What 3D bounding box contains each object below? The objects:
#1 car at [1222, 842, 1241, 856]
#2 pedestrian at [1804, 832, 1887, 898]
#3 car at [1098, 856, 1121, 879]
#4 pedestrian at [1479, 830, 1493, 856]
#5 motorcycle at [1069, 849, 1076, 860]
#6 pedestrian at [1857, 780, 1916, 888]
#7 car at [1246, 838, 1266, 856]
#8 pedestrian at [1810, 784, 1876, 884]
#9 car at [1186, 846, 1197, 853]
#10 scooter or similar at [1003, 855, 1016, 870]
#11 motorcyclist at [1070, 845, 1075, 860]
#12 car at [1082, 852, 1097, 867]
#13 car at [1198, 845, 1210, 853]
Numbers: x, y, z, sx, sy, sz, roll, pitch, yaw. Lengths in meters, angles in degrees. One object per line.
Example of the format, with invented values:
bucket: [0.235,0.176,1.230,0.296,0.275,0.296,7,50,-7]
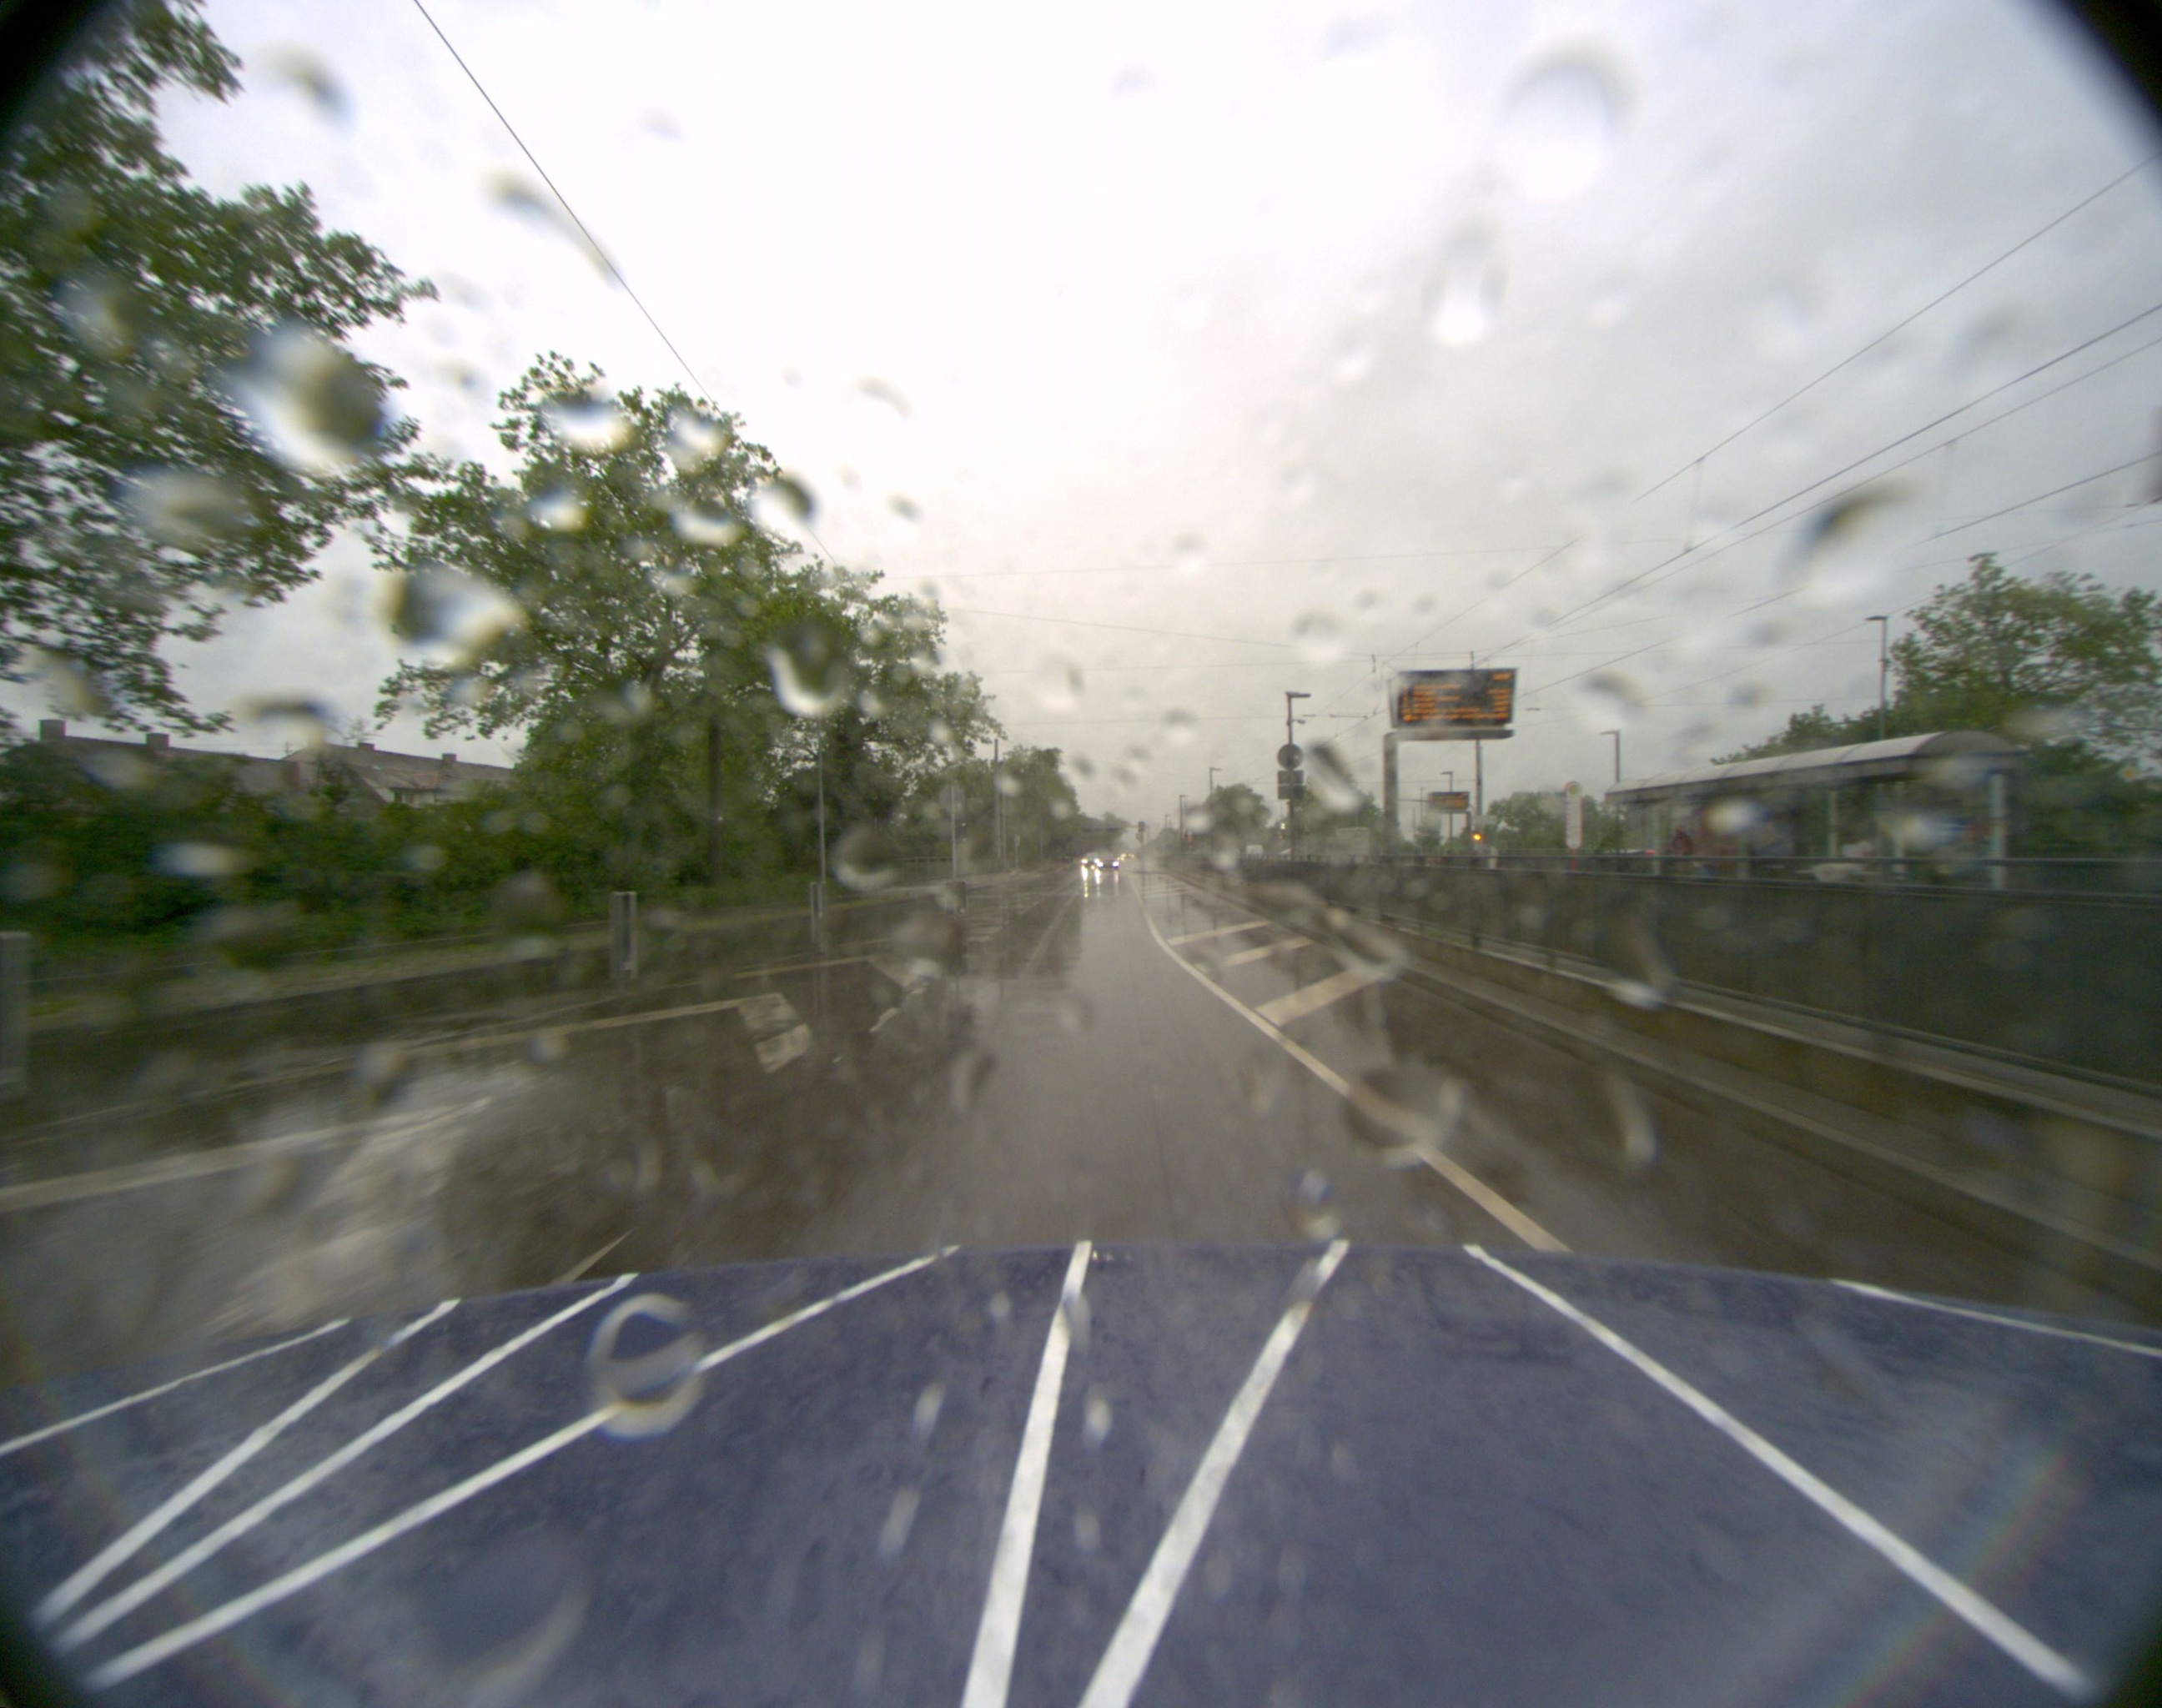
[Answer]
car: [23.146,-0.767,117.007,1.998,2.002,4.754,-2,0,3]
pedestrian: [15.915,0.230,15.846,0.833,1.309,0.858,-2,1,3]
car: [2.723,1.211,71.113,1.998,2.002,4.001,-1,0,4]
pedestrian: [32.093,-0.886,60.250,0.700,2.002,0.697,-1,1,4]
motorcycle: [-1.307,0.006,119.624,0.845,1.710,2.586,-2,1,3]
pedestrian: [30.931,-0.760,29.206,1.169,4.006,1.522,-1,2,31]
car: [27.487,-1.076,119.682,2.124,2.697,5.739,-2,0,3]
pedestrian: [31.650,-0.817,31.574,1.172,4.006,1.518,-2,1,-8]
car: [26.237,-1.140,180.320,1.998,1.587,4.382,2,0,4]
scooter or similar: [-6.244,0.725,66.257,0.761,1.285,1.647,-2,1,6]
motorcyclist: [-1.315,-0.274,119.753,0.762,2.246,0.916,-2,1,4]
car: [1.158,0.760,105.292,1.999,2.002,3.999,-2,0,-1]
car: [26.013,-1.059,160.638,1.998,1.761,4.258,-2,0,3]
